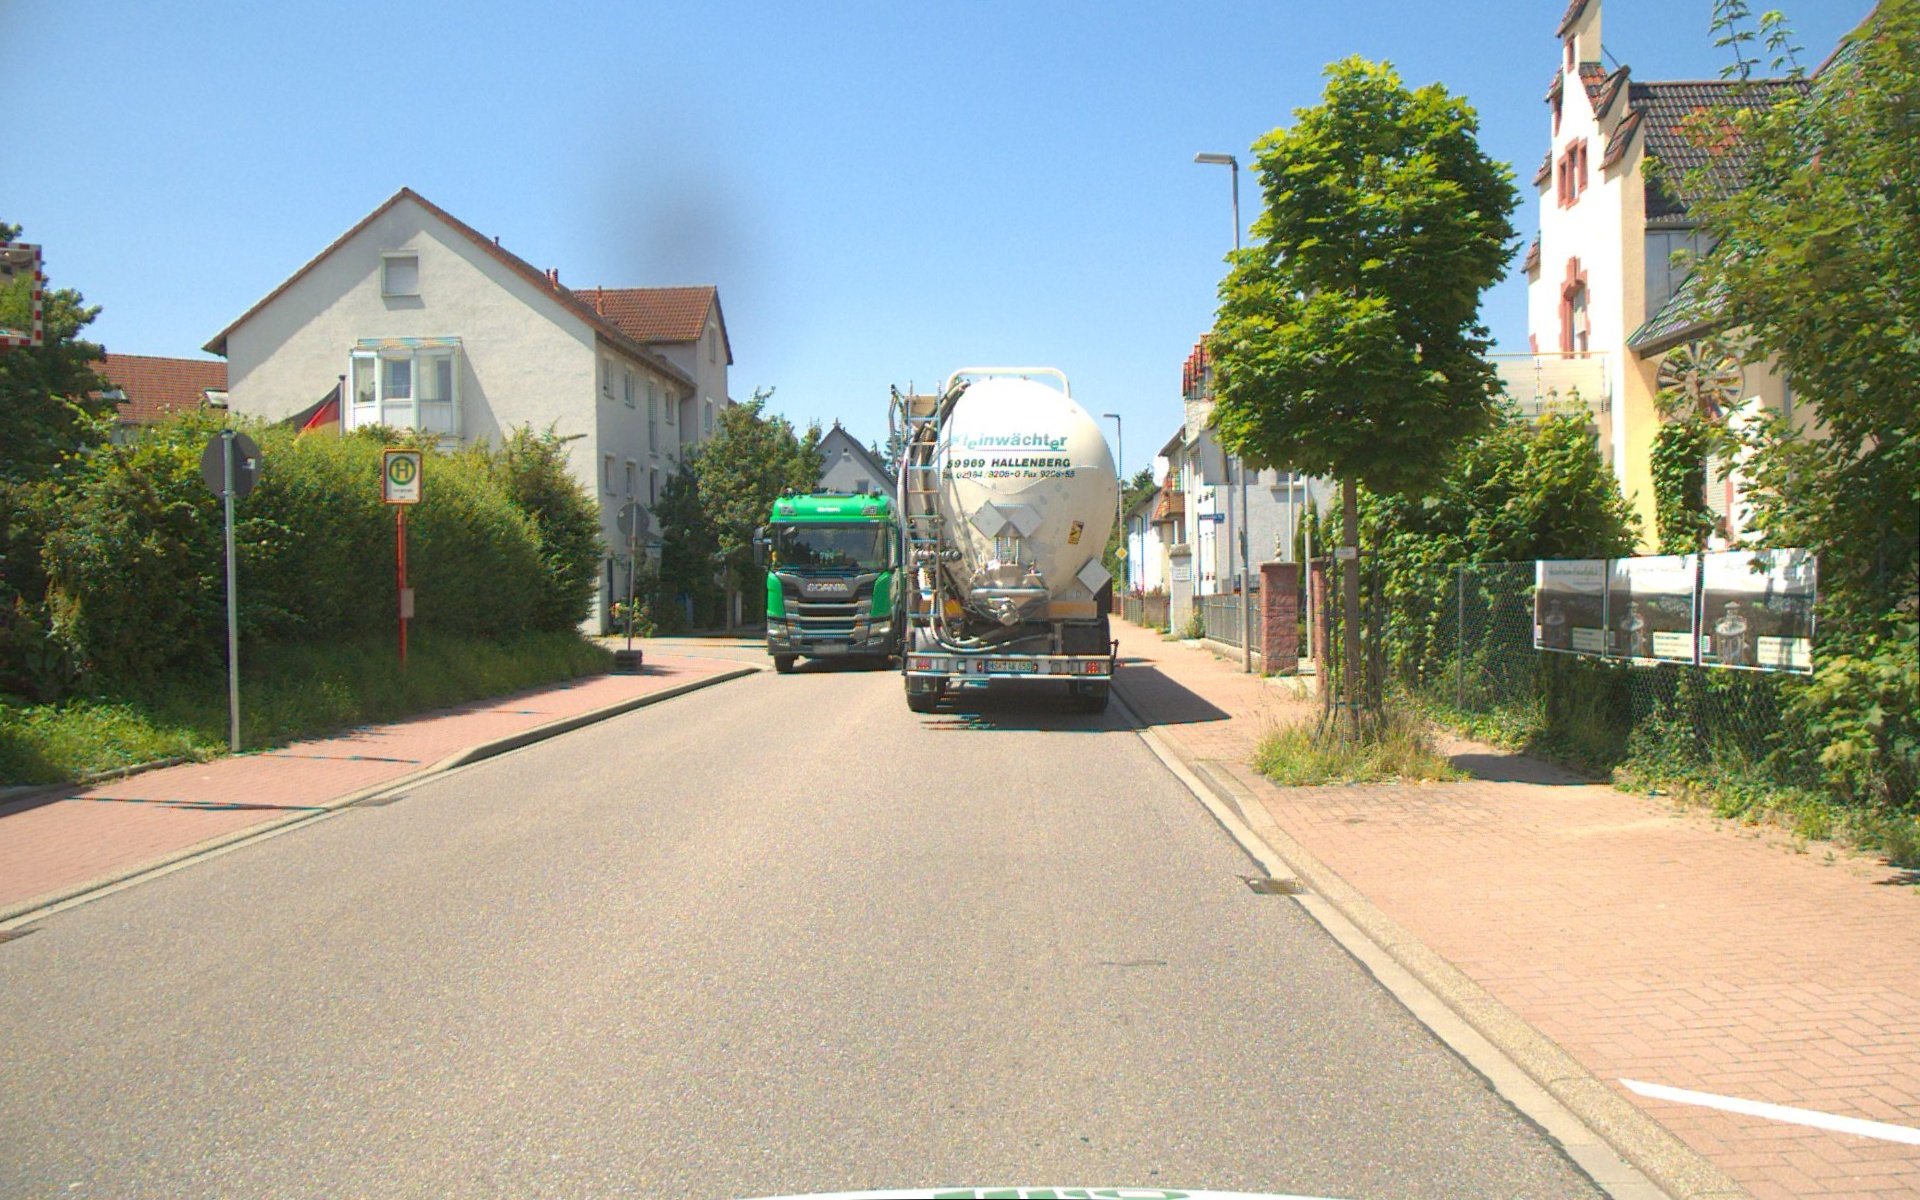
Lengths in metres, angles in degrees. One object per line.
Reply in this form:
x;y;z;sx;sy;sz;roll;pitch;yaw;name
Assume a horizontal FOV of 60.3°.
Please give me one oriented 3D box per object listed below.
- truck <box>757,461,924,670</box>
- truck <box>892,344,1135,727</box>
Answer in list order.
-2.309;-0.678;35.445;2.514;3.765;10.080;-2;0;1;truck
0.600;-0.724;22.471;2.587;4.086;9.561;0;0;0;truck
